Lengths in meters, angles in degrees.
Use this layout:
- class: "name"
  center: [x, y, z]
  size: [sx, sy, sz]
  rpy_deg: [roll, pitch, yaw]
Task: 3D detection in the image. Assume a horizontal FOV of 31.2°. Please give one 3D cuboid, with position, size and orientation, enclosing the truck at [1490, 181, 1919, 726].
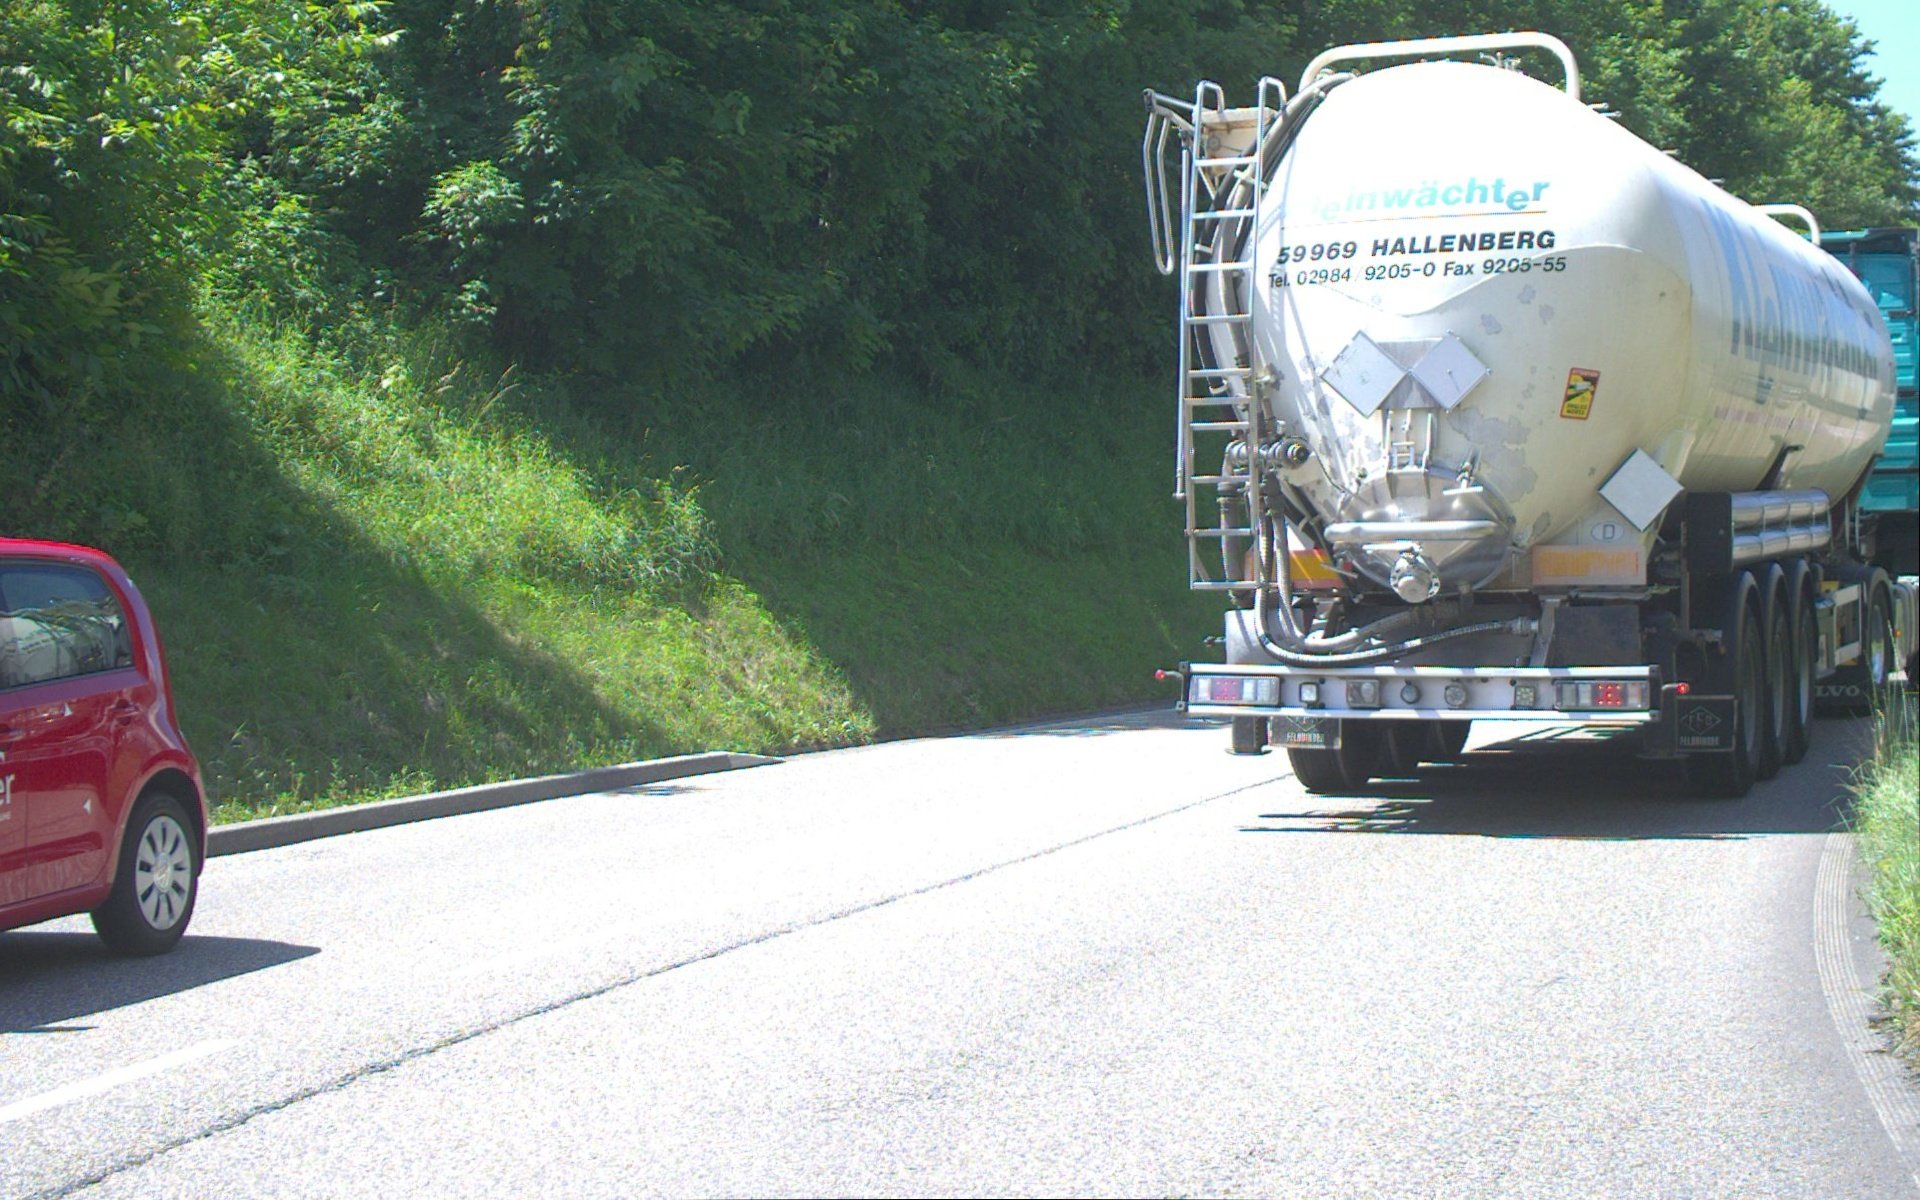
- class: "truck"
  center: [6.726, -1.092, 28.584]
  size: [2.730, 3.916, 7.254]
  rpy_deg: [0, 1, 24]

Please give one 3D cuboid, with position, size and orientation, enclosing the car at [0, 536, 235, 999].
- class: "car"
  center: [-3.881, 0.527, 10.785]
  size: [1.657, 1.453, 3.634]
  rpy_deg: [0, 1, 15]

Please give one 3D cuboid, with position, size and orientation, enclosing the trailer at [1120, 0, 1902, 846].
- class: "trailer"
  center: [4.070, -1.124, 21.712]
  size: [2.664, 4.174, 11.893]
  rpy_deg: [0, 1, 20]
